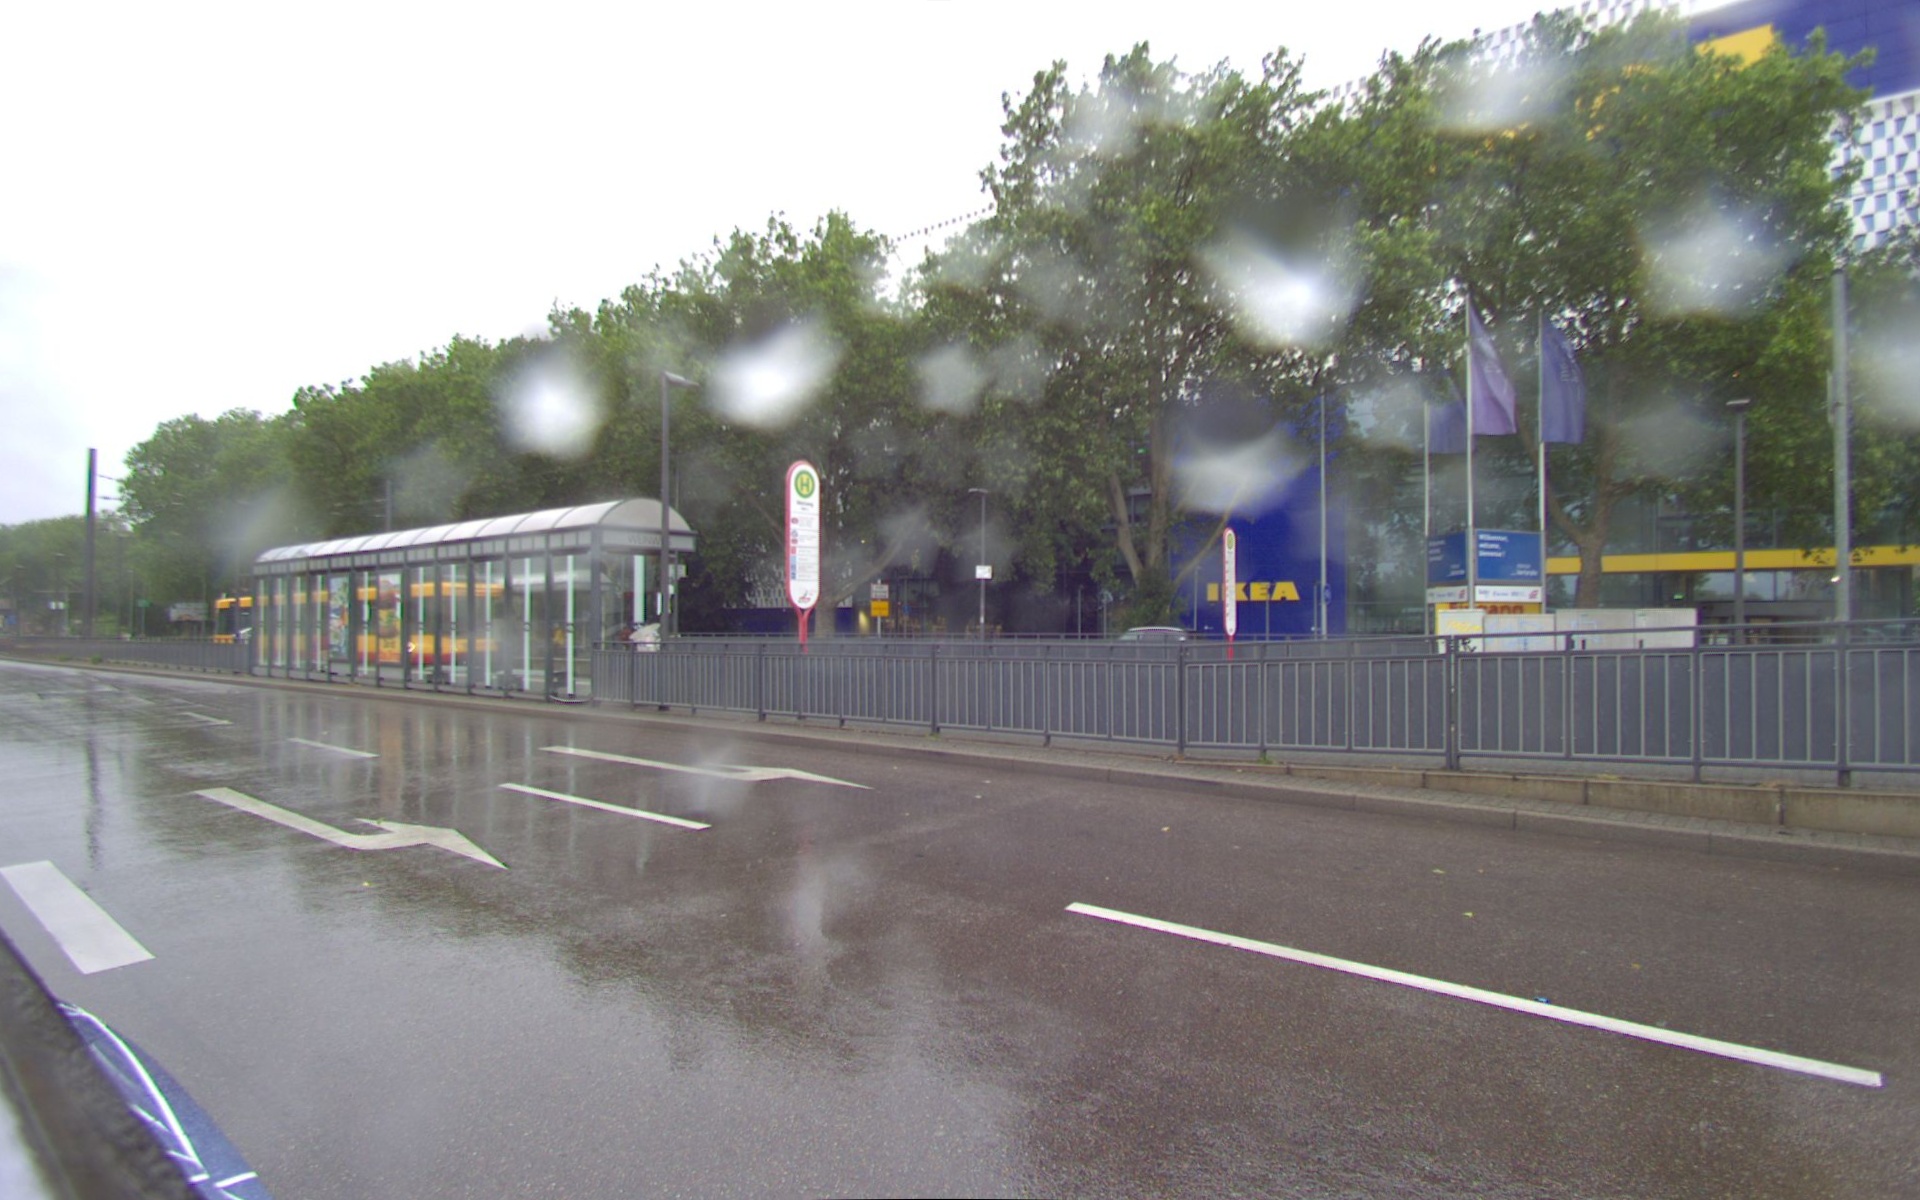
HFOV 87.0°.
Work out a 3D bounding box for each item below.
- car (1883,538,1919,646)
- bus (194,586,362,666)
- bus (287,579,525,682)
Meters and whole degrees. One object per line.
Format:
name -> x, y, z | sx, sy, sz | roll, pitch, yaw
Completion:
car -> 20.154, -0.183, 18.855 | 3.985, 2.029, 1.979 | -1, 0, 31
bus -> -33.226, 1.166, 48.832 | 15.054, 3.354, 2.901 | -1, 0, 41
bus -> -21.760, 1.045, 38.925 | 15.053, 3.354, 2.901 | -1, 0, 41
